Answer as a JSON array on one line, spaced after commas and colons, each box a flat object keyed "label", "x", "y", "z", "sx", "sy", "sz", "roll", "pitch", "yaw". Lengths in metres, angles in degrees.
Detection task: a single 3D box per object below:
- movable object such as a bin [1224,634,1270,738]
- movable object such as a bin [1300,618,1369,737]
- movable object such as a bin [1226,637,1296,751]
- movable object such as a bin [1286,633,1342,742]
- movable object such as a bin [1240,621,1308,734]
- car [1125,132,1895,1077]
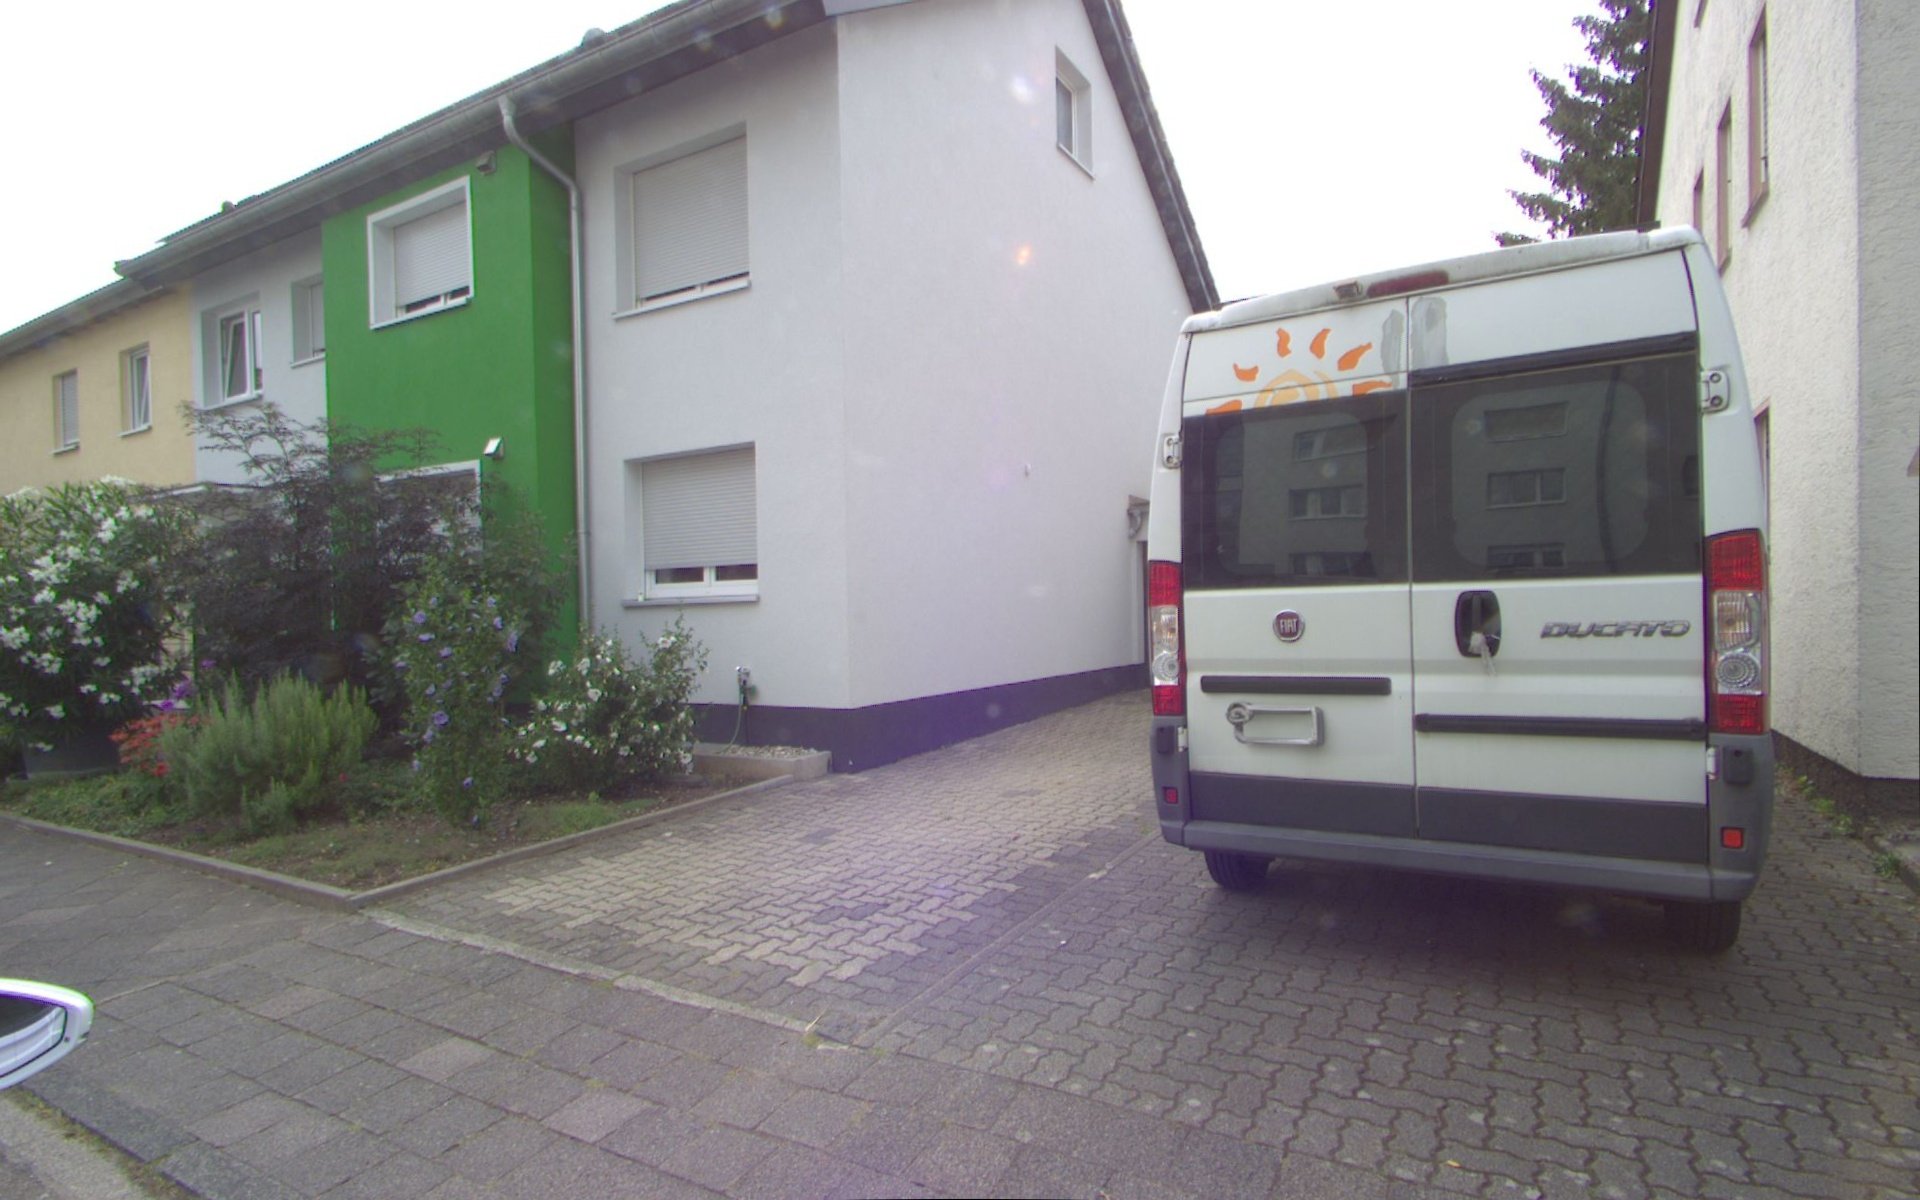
[{"label": "movable object such as a bin", "x": 2.722, "y": 0.805, "z": 9.490, "sx": 0.333, "sy": 0.938, "sz": 0.354, "roll": -1, "pitch": 2, "yaw": 30}, {"label": "movable object such as a bin", "x": 3.564, "y": 0.723, "z": 9.523, "sx": 0.538, "sy": 1.071, "sz": 0.454, "roll": -1, "pitch": 2, "yaw": 30}, {"label": "movable object such as a bin", "x": 2.669, "y": 0.814, "z": 8.877, "sx": 0.475, "sy": 0.938, "sz": 0.518, "roll": -1, "pitch": 2, "yaw": 30}, {"label": "movable object such as a bin", "x": 3.237, "y": 0.787, "z": 9.147, "sx": 0.396, "sy": 0.938, "sz": 0.448, "roll": -1, "pitch": 2, "yaw": 30}, {"label": "movable object such as a bin", "x": 3.076, "y": 0.746, "z": 9.804, "sx": 0.538, "sy": 1.046, "sz": 0.454, "roll": -1, "pitch": 2, "yaw": 30}, {"label": "car", "x": 2.896, "y": -0.010, "z": 5.487, "sx": 2.205, "sy": 2.576, "sz": 5.077, "roll": -1, "pitch": 1, "yaw": 31}]
